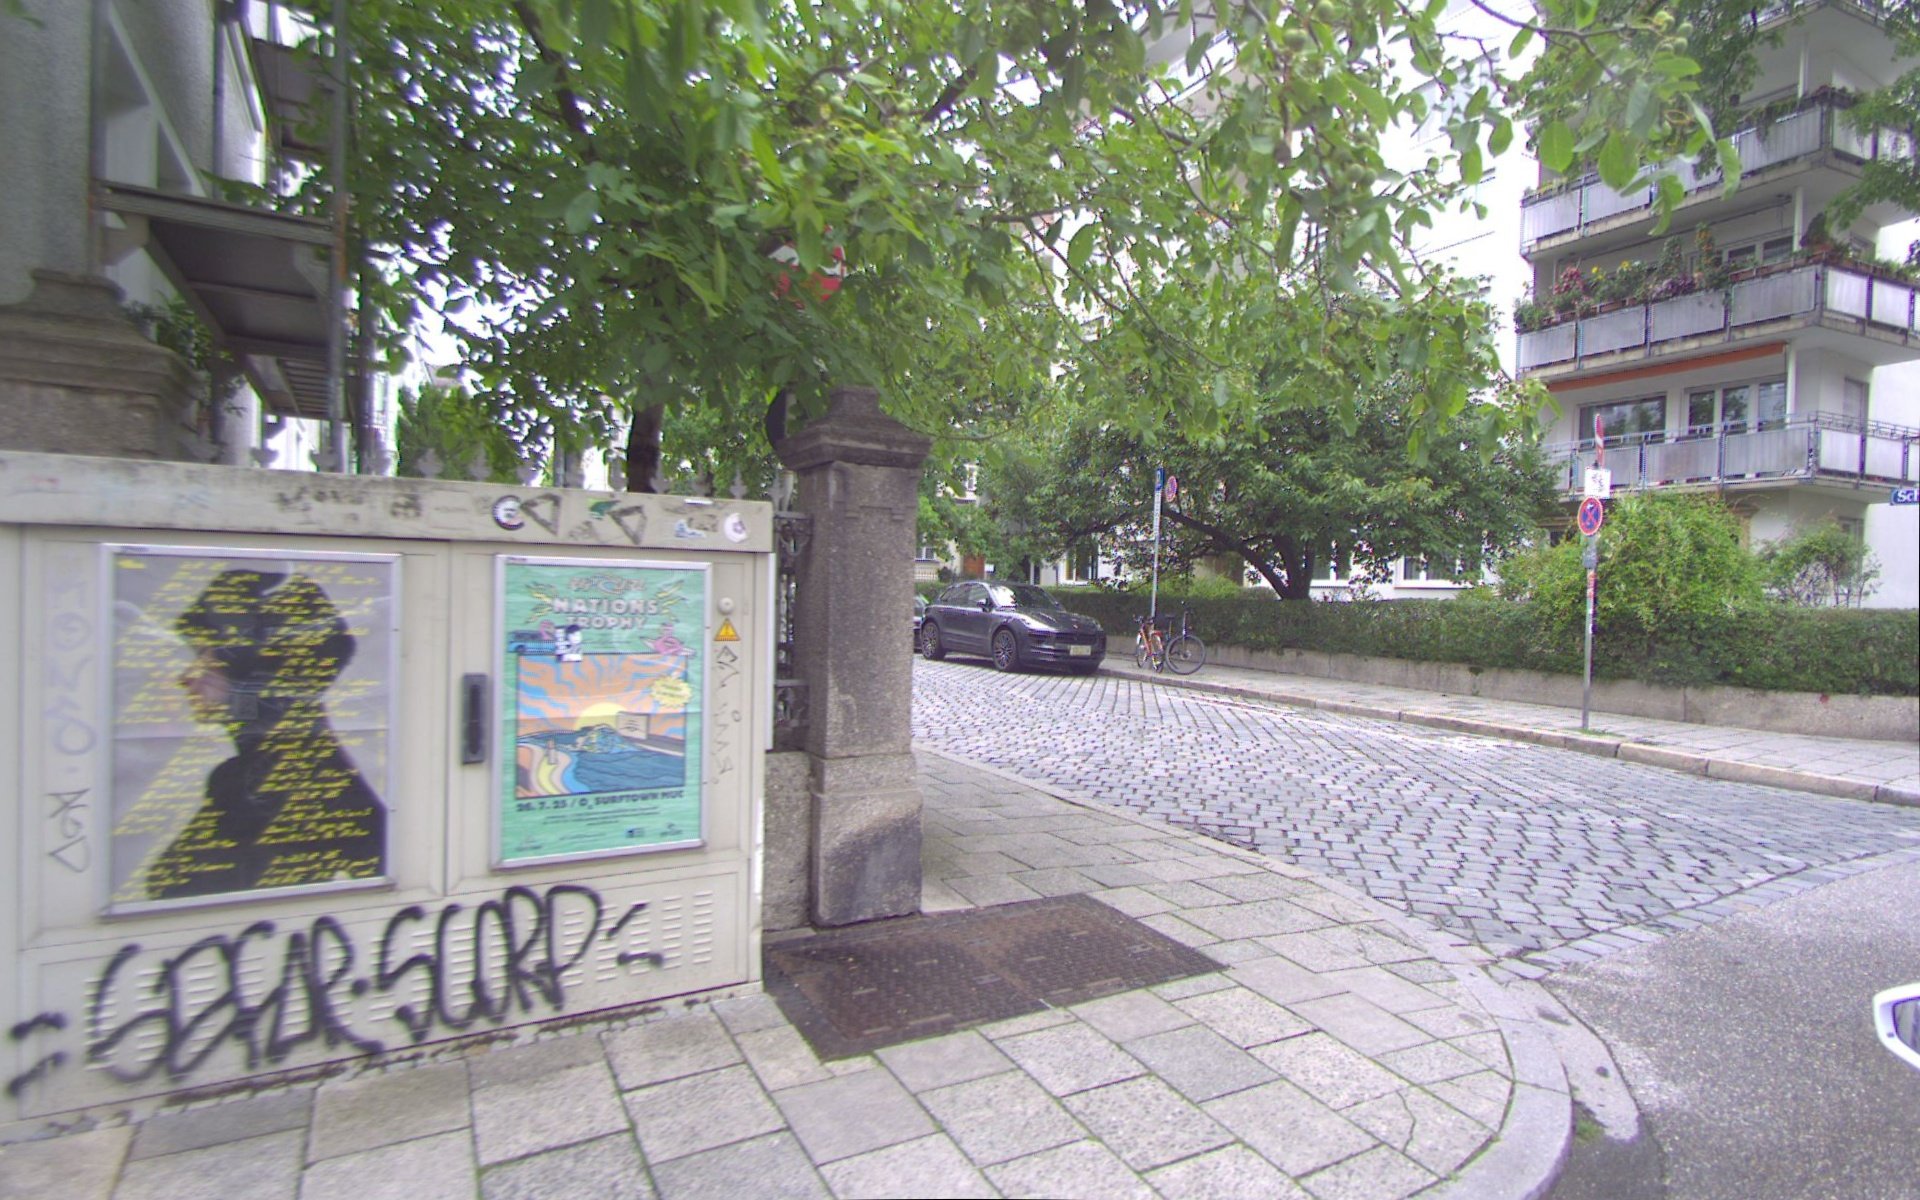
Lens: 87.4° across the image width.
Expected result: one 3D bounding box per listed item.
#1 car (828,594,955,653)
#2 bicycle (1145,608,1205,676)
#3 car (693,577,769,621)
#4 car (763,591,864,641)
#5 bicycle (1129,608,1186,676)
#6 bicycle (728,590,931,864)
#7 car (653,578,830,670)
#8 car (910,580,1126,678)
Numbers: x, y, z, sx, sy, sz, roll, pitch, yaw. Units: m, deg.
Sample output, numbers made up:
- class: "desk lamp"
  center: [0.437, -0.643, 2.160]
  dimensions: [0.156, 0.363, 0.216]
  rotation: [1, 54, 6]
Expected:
- class: "car"
  center: [-1.653, 0.513, 23.390]
  dimensions: [1.467, 1.181, 3.460]
  rotation: [3, 0, -32]
- class: "bicycle"
  center: [3.786, 0.716, 17.817]
  dimensions: [0.341, 1.086, 1.776]
  rotation: [3, 1, -10]
- class: "car"
  center: [-8.039, -0.067, 35.088]
  dimensions: [1.467, 1.394, 3.460]
  rotation: [3, 0, -32]
- class: "car"
  center: [-4.087, 0.419, 27.706]
  dimensions: [1.467, 1.181, 3.460]
  rotation: [3, 0, -32]
- class: "bicycle"
  center: [3.456, 0.714, 17.696]
  dimensions: [0.341, 1.086, 1.776]
  rotation: [1, 1, -10]
- class: "bicycle"
  center: [-0.798, 0.597, 5.624]
  dimensions: [0.427, 1.278, 1.797]
  rotation: [1, 1, -31]
- class: "car"
  center: [-3.862, 0.336, 17.193]
  dimensions: [1.823, 1.344, 4.080]
  rotation: [1, 1, -30]
- class: "car"
  center: [0.939, 0.485, 18.804]
  dimensions: [1.994, 1.542, 4.257]
  rotation: [3, 0, -30]
